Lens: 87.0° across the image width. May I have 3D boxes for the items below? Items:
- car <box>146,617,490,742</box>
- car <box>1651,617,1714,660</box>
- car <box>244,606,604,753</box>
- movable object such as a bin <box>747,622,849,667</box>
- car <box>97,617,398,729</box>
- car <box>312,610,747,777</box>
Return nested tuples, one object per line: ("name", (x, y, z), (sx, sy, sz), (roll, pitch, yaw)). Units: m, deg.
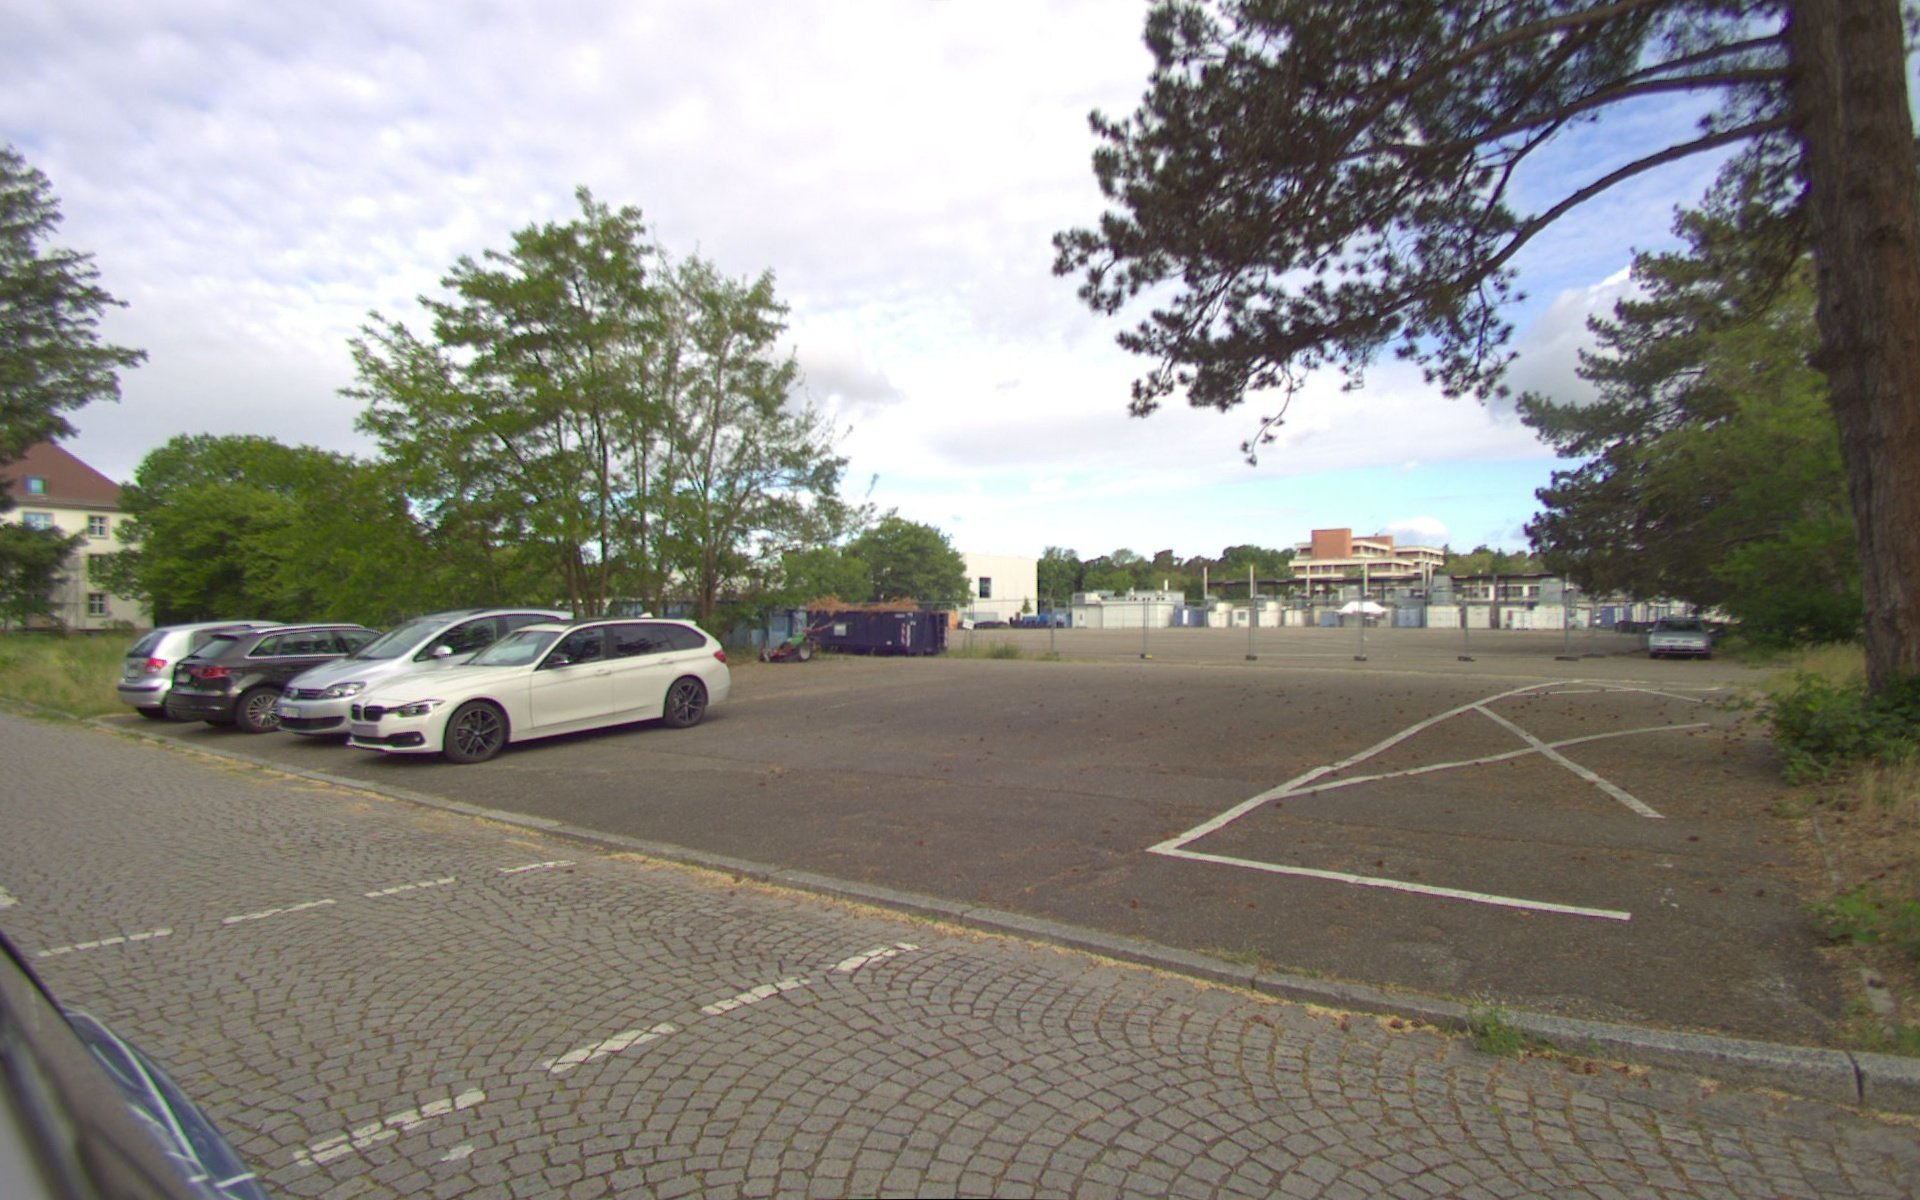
("car", (-9.393, 1.060, 15.089), (1.748, 1.438, 3.951), (-1, 1, 37))
("car", (25.219, 1.309, 35.326), (1.694, 1.403, 3.951), (-1, -1, 36))
("car", (-7.058, 0.935, 13.711), (1.719, 1.559, 3.955), (-1, 1, 33))
("movable object such as a bin", (-4.438, 1.200, 27.778), (1.500, 1.170, 2.365), (-1, -2, 43))
("car", (-11.613, 1.101, 16.706), (1.803, 1.463, 3.648), (-1, 1, 33))
("car", (-4.930, 0.948, 12.290), (1.797, 1.454, 4.609), (-1, 1, 34))
